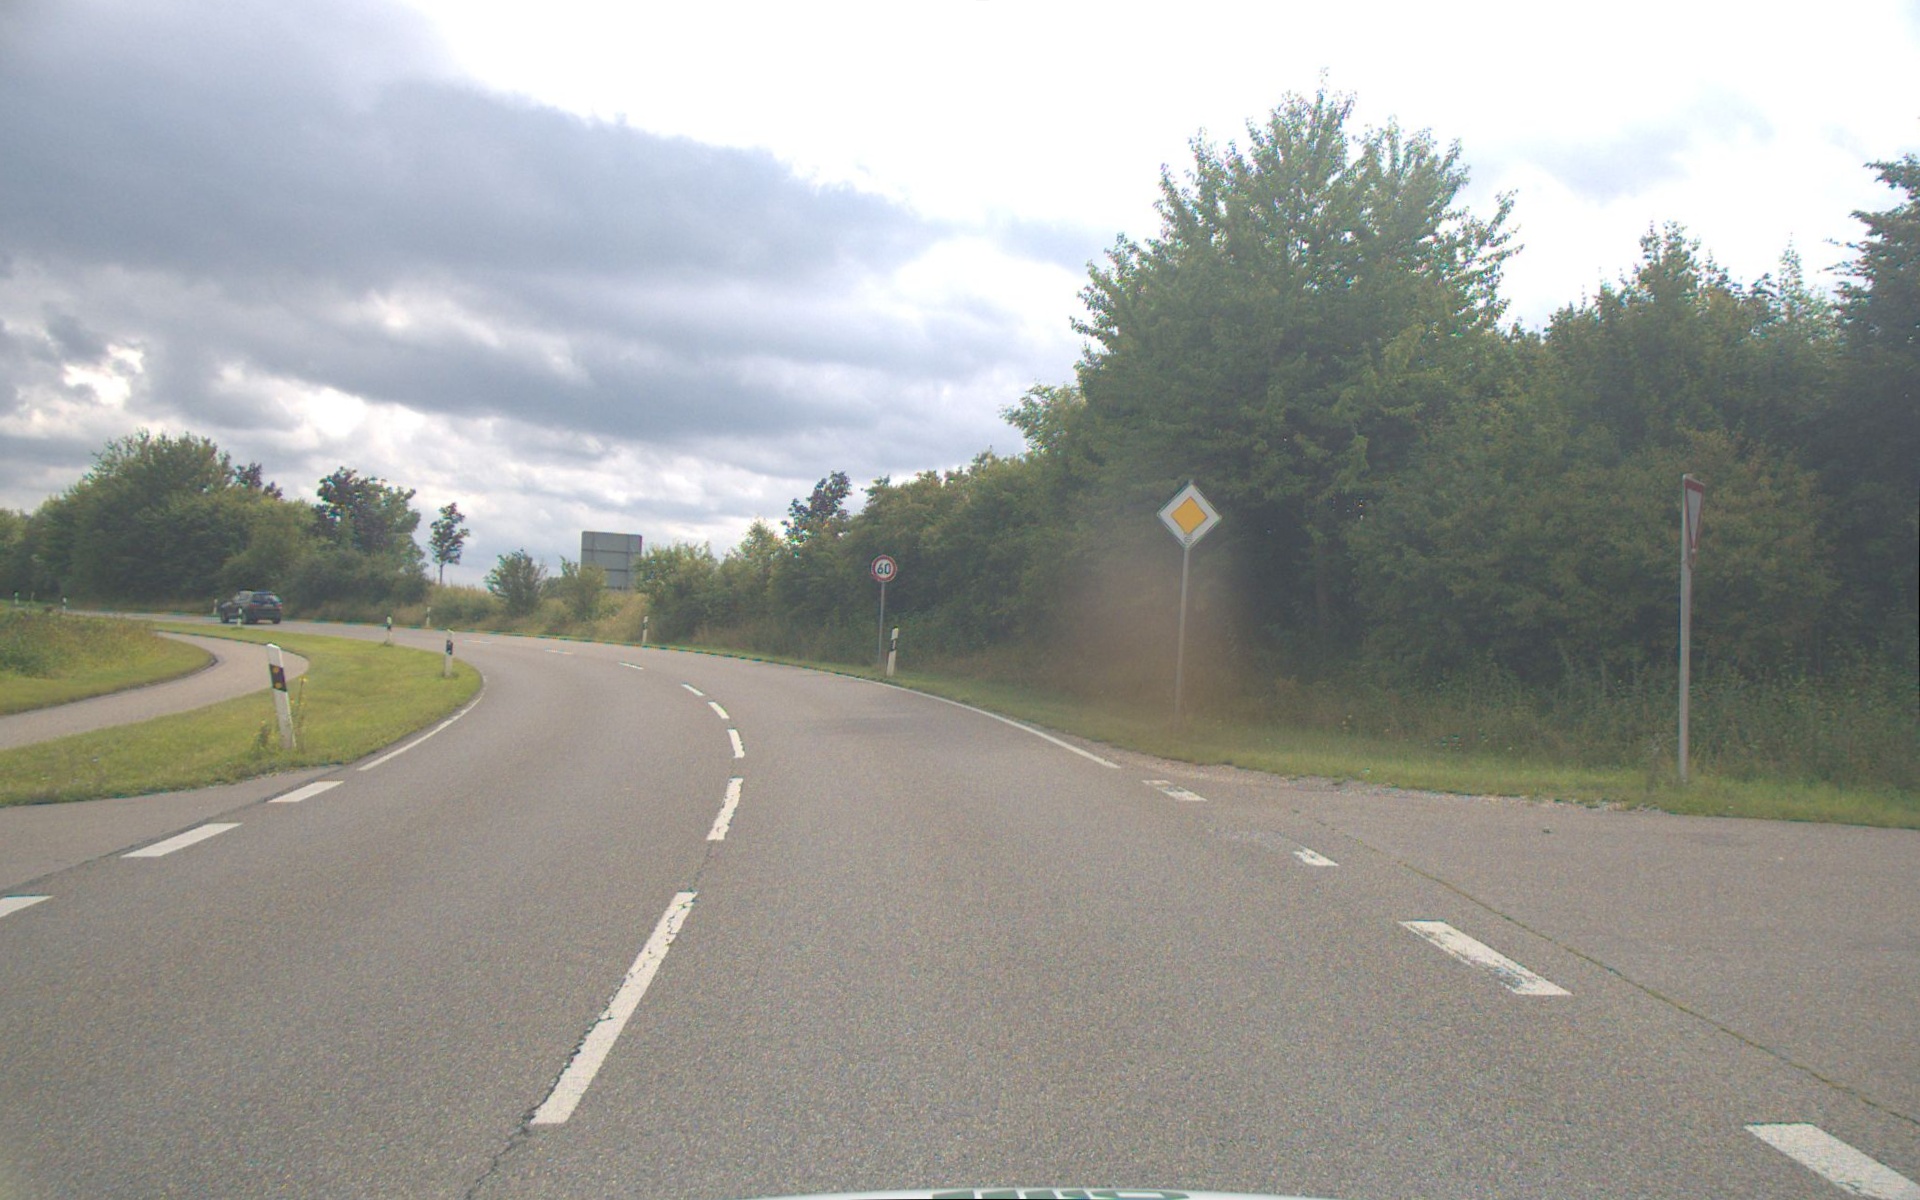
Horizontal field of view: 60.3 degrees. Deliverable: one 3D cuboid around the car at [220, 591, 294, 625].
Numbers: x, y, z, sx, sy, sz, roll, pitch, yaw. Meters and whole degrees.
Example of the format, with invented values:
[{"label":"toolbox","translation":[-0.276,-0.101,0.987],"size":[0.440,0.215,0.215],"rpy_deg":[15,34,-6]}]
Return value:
[{"label":"car","translation":[-37.161,0.405,87.380],"size":[3.922,1.695,1.904],"rpy_deg":[1,-1,38]}]
